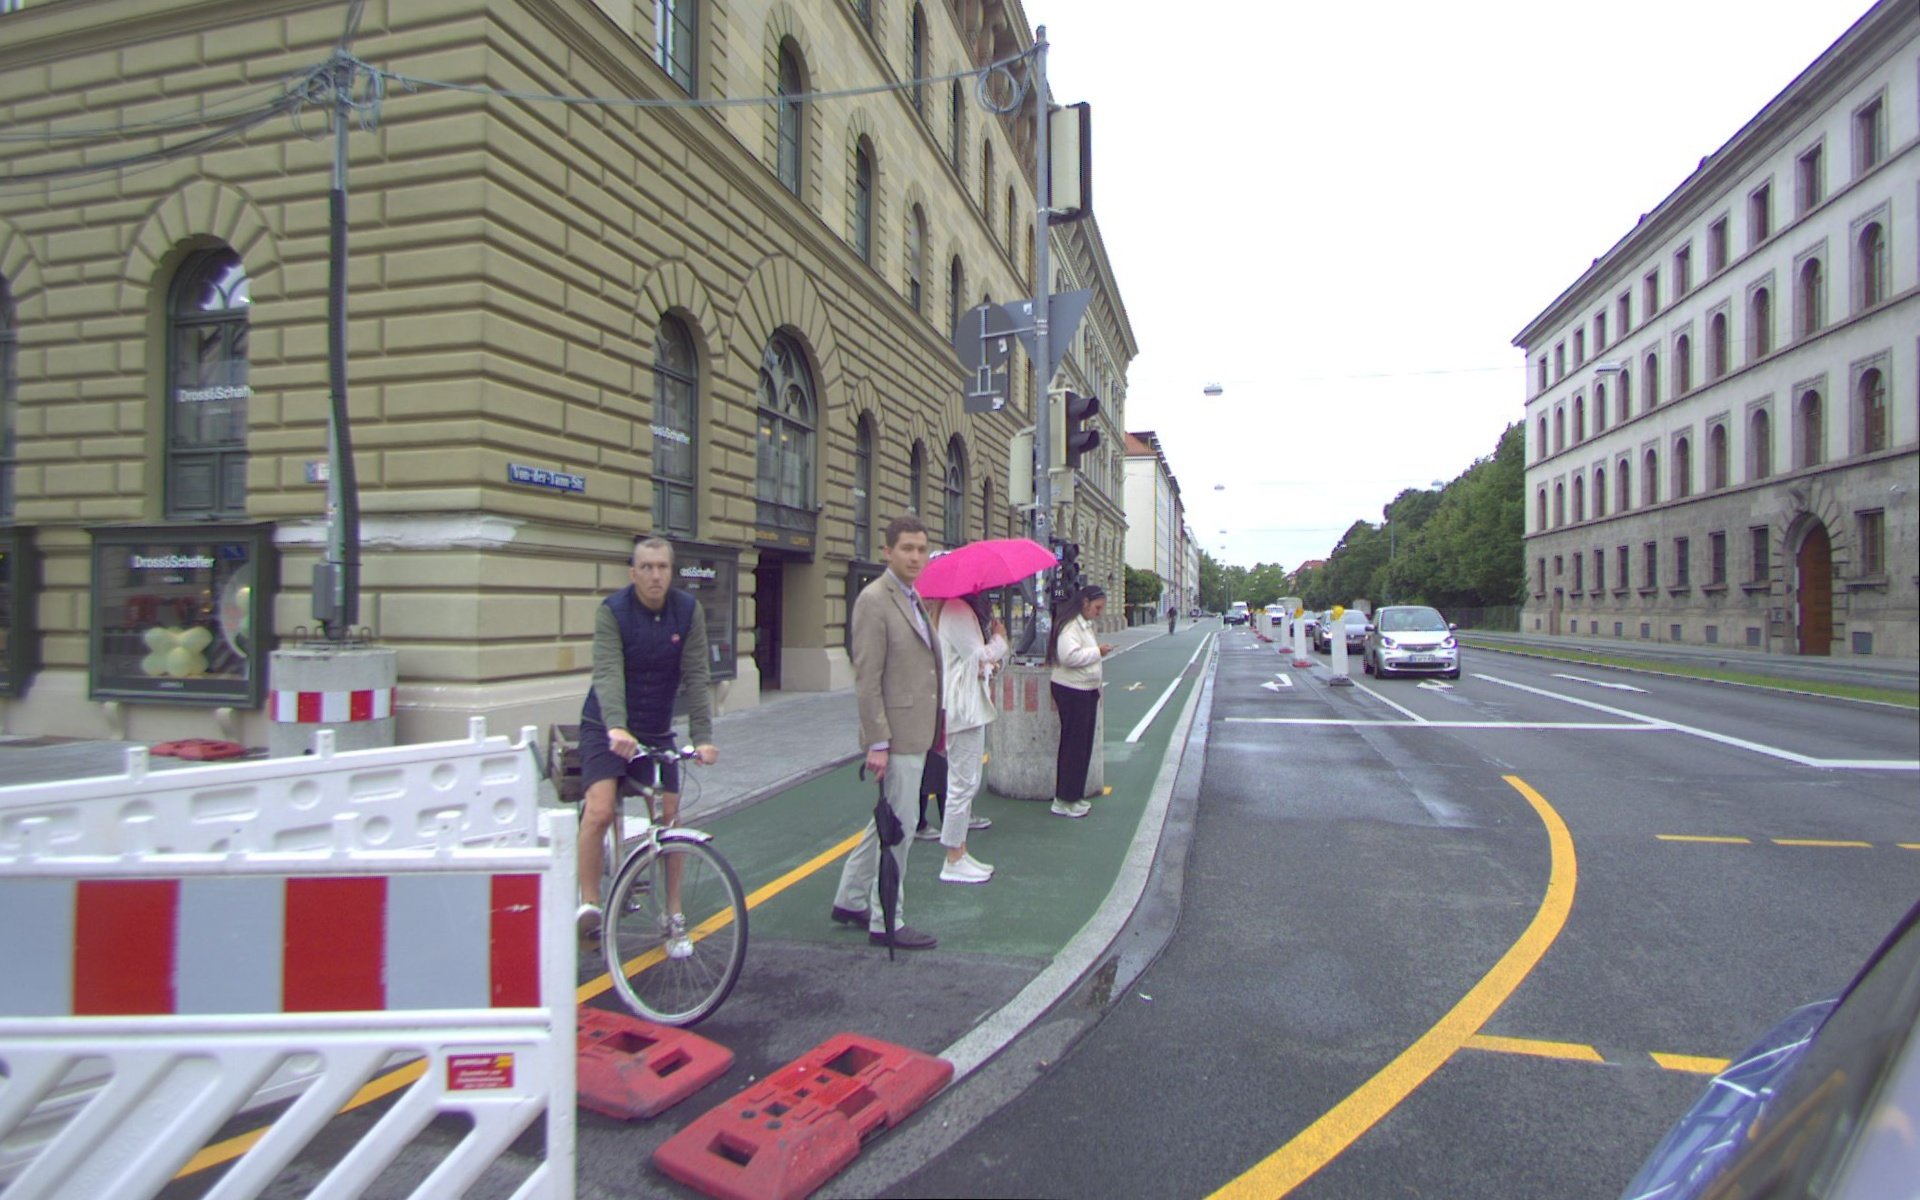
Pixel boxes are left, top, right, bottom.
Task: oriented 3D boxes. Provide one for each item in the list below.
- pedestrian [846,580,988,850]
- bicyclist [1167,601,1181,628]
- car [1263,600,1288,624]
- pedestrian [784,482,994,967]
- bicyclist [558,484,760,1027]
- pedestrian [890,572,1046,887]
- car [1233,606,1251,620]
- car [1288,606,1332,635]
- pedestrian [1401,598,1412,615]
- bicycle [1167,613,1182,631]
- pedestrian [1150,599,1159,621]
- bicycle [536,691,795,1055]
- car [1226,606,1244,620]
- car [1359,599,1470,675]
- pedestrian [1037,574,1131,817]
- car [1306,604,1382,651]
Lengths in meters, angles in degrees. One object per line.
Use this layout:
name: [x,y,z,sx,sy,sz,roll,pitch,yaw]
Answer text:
pedestrian: [-0.258,0.686,6.404,0.695,1.587,0.678,-1,-1,18]
bicyclist: [12.682,0.857,59.948,0.714,1.572,0.854,-1,-1,15]
car: [27.869,1.041,89.409,1.972,2.039,3.980,0,0,15]
pedestrian: [-0.293,0.495,4.415,0.696,1.909,0.636,-1,-1,20]
bicyclist: [-1.210,0.538,3.998,0.556,1.877,0.799,0,-1,-32]
pedestrian: [0.054,0.662,5.481,0.695,1.587,0.538,-1,-1,18]
car: [29.791,1.327,107.049,1.716,1.452,3.981,-1,-1,15]
car: [19.580,1.118,56.786,1.971,1.577,4.367,0,0,15]
pedestrian: [52.013,0.766,117.954,0.849,2.039,0.759,-1,-1,-17]
bicycle: [12.702,1.285,59.996,0.740,1.045,2.519,-1,-1,15]
pedestrian: [16.690,0.869,86.706,0.646,1.898,0.822,1,-1,15]
bicycle: [-1.262,0.946,4.085,0.575,1.024,1.657,0,-1,-32]
car: [27.740,1.282,102.028,1.716,1.338,3.981,-1,-1,15]
car: [10.031,0.767,22.606,1.611,1.522,3.981,-1,-1,15]
pedestrian: [0.899,0.650,7.242,0.526,1.640,0.670,-1,-1,18]
car: [12.986,0.887,34.472,1.895,1.459,4.286,-2,-1,15]
